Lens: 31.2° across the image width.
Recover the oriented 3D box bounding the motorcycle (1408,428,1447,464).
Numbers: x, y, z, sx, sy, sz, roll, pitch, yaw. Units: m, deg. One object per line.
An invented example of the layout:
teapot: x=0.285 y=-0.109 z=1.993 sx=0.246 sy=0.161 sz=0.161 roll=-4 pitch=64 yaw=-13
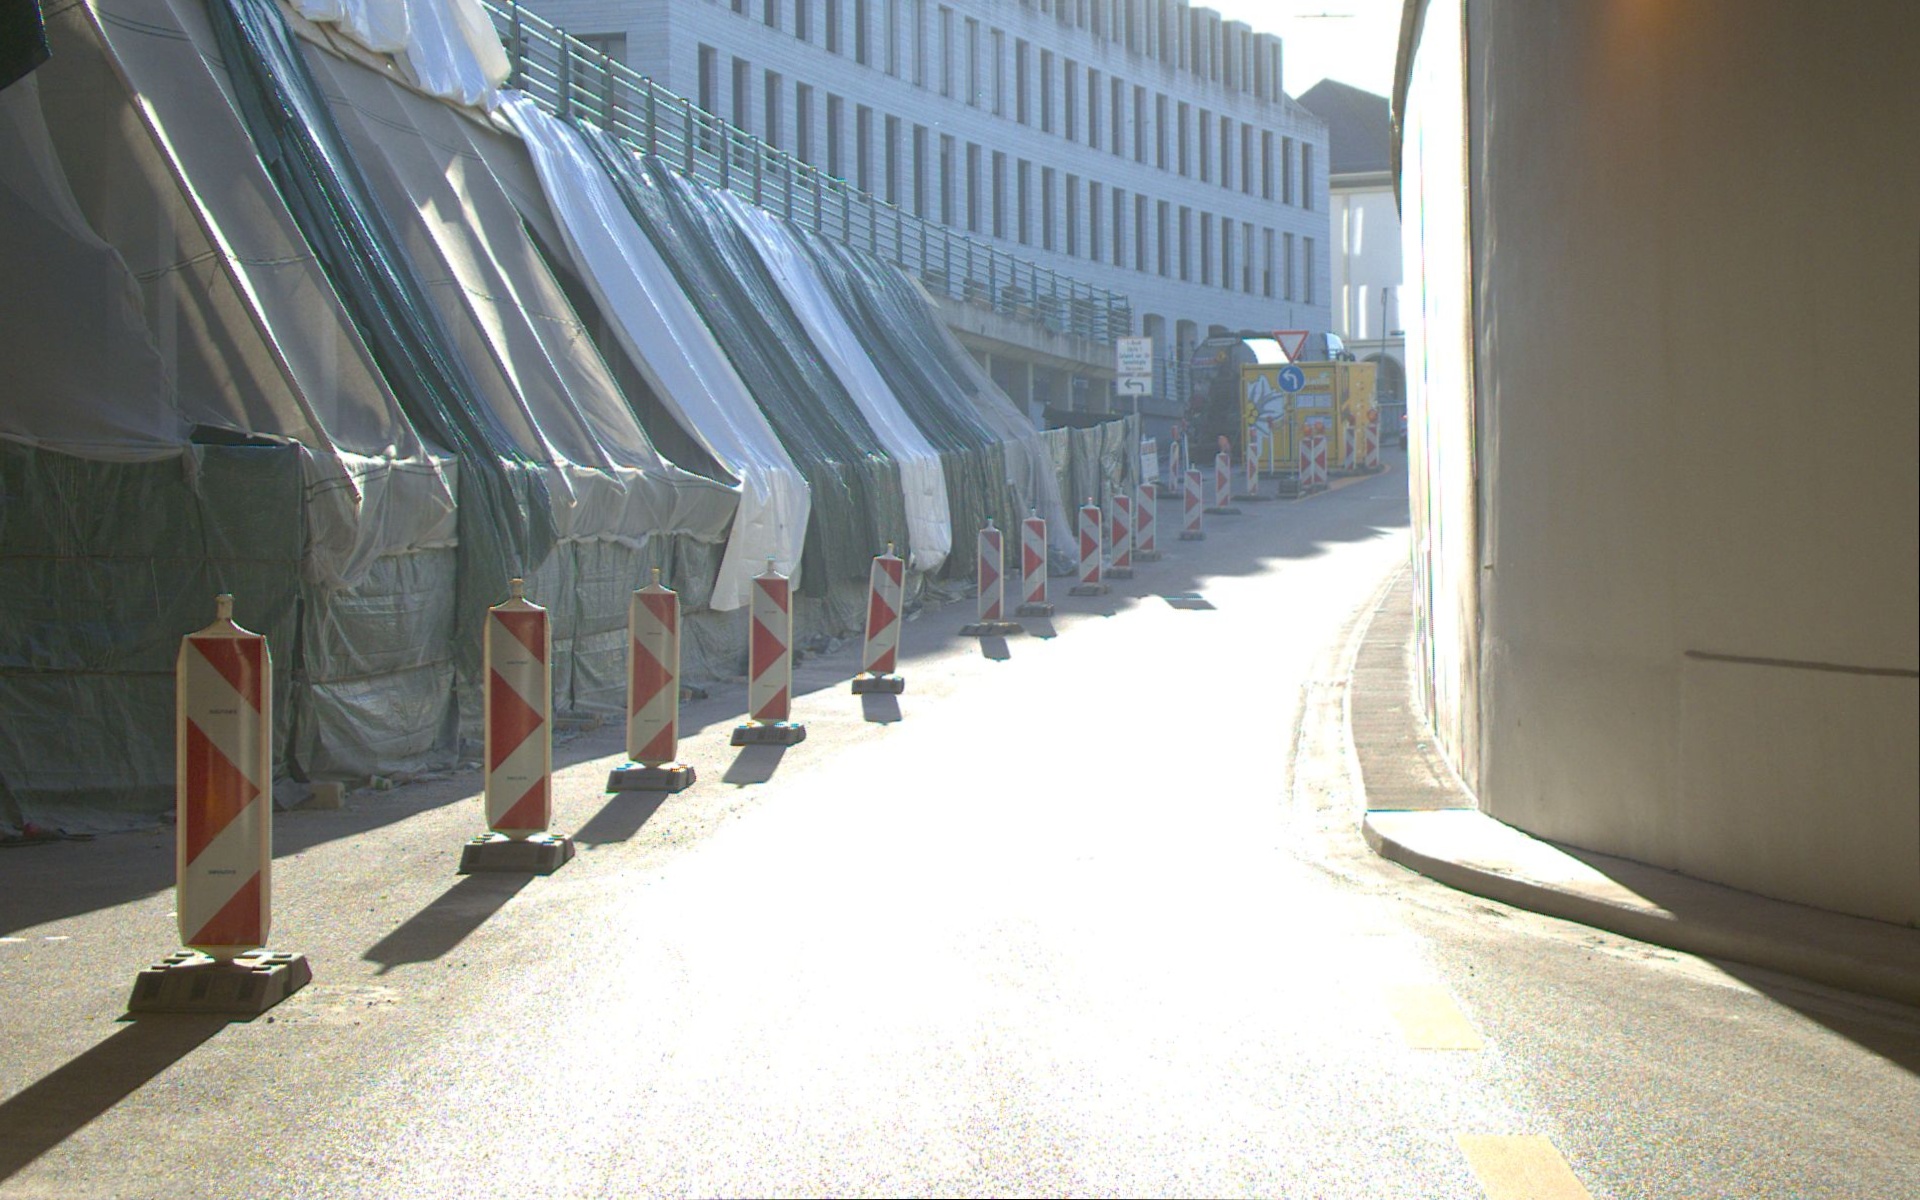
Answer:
motorcycle: x=13.108 y=-4.317 z=96.372 sx=0.772 sy=0.989 sz=2.182 roll=0 pitch=2 yaw=17

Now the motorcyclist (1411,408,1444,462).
motorcyclist: x=13.097 y=-4.612 z=96.268 sx=0.805 sy=1.499 sz=0.776 roll=1 pitch=3 yaw=17

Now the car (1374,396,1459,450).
car: x=13.695 y=-5.315 z=102.973 sx=1.777 sy=1.598 sz=3.997 roll=1 pitch=3 yaw=18
